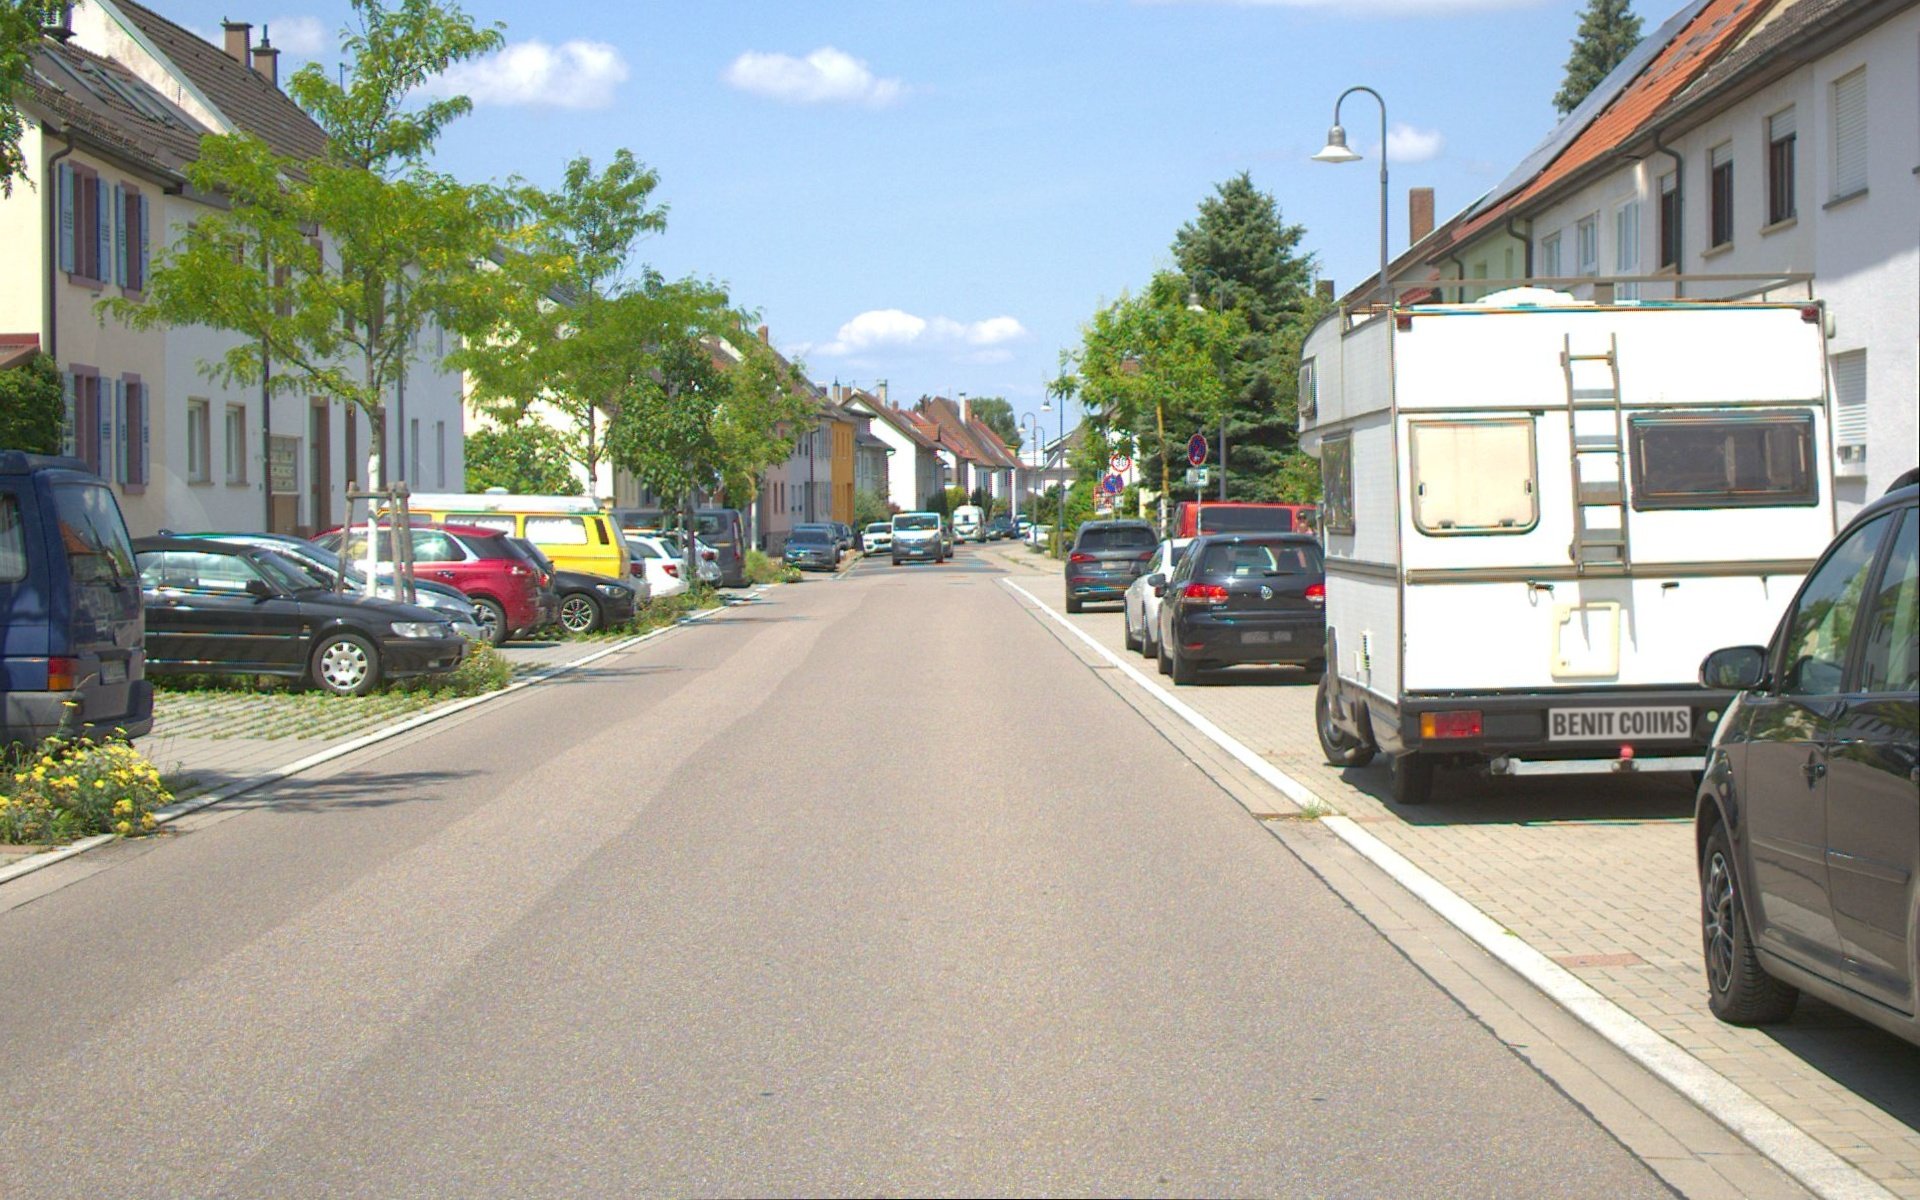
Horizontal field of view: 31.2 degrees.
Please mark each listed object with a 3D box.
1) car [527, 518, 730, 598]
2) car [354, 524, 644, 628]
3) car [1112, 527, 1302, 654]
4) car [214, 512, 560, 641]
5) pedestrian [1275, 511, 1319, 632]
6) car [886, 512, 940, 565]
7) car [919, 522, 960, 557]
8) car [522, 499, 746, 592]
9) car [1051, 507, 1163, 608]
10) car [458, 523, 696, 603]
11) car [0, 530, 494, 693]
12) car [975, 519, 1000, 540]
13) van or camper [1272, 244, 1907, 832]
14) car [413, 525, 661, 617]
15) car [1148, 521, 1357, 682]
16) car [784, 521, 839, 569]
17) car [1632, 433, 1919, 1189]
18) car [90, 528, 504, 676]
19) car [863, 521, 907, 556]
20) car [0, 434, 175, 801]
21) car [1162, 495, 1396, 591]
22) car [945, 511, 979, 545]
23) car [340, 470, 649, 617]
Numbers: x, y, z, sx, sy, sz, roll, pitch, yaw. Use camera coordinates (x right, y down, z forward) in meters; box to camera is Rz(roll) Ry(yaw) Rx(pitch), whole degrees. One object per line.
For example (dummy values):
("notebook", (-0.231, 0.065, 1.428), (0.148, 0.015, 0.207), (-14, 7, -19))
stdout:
("car", (-6.974, -0.885, 72.670), (4.182, 1.563, 1.774), (1, 1, -3))
("car", (-6.749, -0.368, 50.569), (4.010, 1.454, 1.755), (1, 1, 0))
("car", (2.940, -0.159, 41.779), (1.832, 1.460, 4.520), (0, 1, -2))
("car", (-7.515, -0.326, 45.340), (4.253, 1.606, 1.843), (1, 1, -1))
("pedestrian", (4.877, -0.413, 49.798), (0.557, 1.743, 0.673), (-1, 0, 1))
("car", (-1.788, -2.310, 130.064), (2.022, 1.943, 4.899), (-1, 1, -1))
("car", (-0.939, -2.732, 155.226), (1.762, 1.517, 4.049), (-2, 1, -1))
("car", (-7.120, -1.186, 75.487), (4.700, 1.916, 1.938), (1, 1, 0))
("car", (2.626, -0.792, 61.700), (1.864, 1.630, 4.446), (-2, 2, 2))
("car", (-7.303, -0.703, 65.794), (4.295, 1.463, 1.774), (1, 1, 2))
("car", (-6.758, 0.090, 32.231), (4.524, 1.420, 1.796), (1, 1, 0))
("car", (2.098, -5.324, 261.213), (1.692, 1.498, 3.771), (1, 1, 4))
("van or camper", (3.326, -0.378, 19.606), (2.473, 2.800, 5.791), (-1, 2, 0))
("car", (-7.117, -0.492, 57.780), (4.071, 1.463, 1.754), (1, 1, -8))
("car", (2.879, -0.026, 34.561), (1.767, 1.524, 4.007), (0, 1, 0))
("car", (-5.221, -1.937, 120.470), (1.816, 1.428, 4.140), (3, 2, -3))
("car", (3.044, 0.449, 8.915), (1.767, 1.699, 4.325), (0, 1, 0))
("car", (-6.921, 0.006, 36.178), (4.053, 1.473, 1.776), (1, 1, -2))
("car", (-3.699, -3.028, 169.368), (1.850, 1.653, 4.000), (2, 1, 3))
("car", (-7.057, 0.047, 19.721), (4.613, 1.989, 1.953), (1, 1, 2))
("car", (6.595, -1.180, 71.441), (4.618, 1.887, 2.021), (1, 0, -1))
("car", (0.136, -4.999, 239.027), (2.045, 2.304, 3.771), (1, 1, 4))
("car", (-7.172, -0.874, 53.277), (4.508, 2.170, 1.925), (1, 1, 0))
